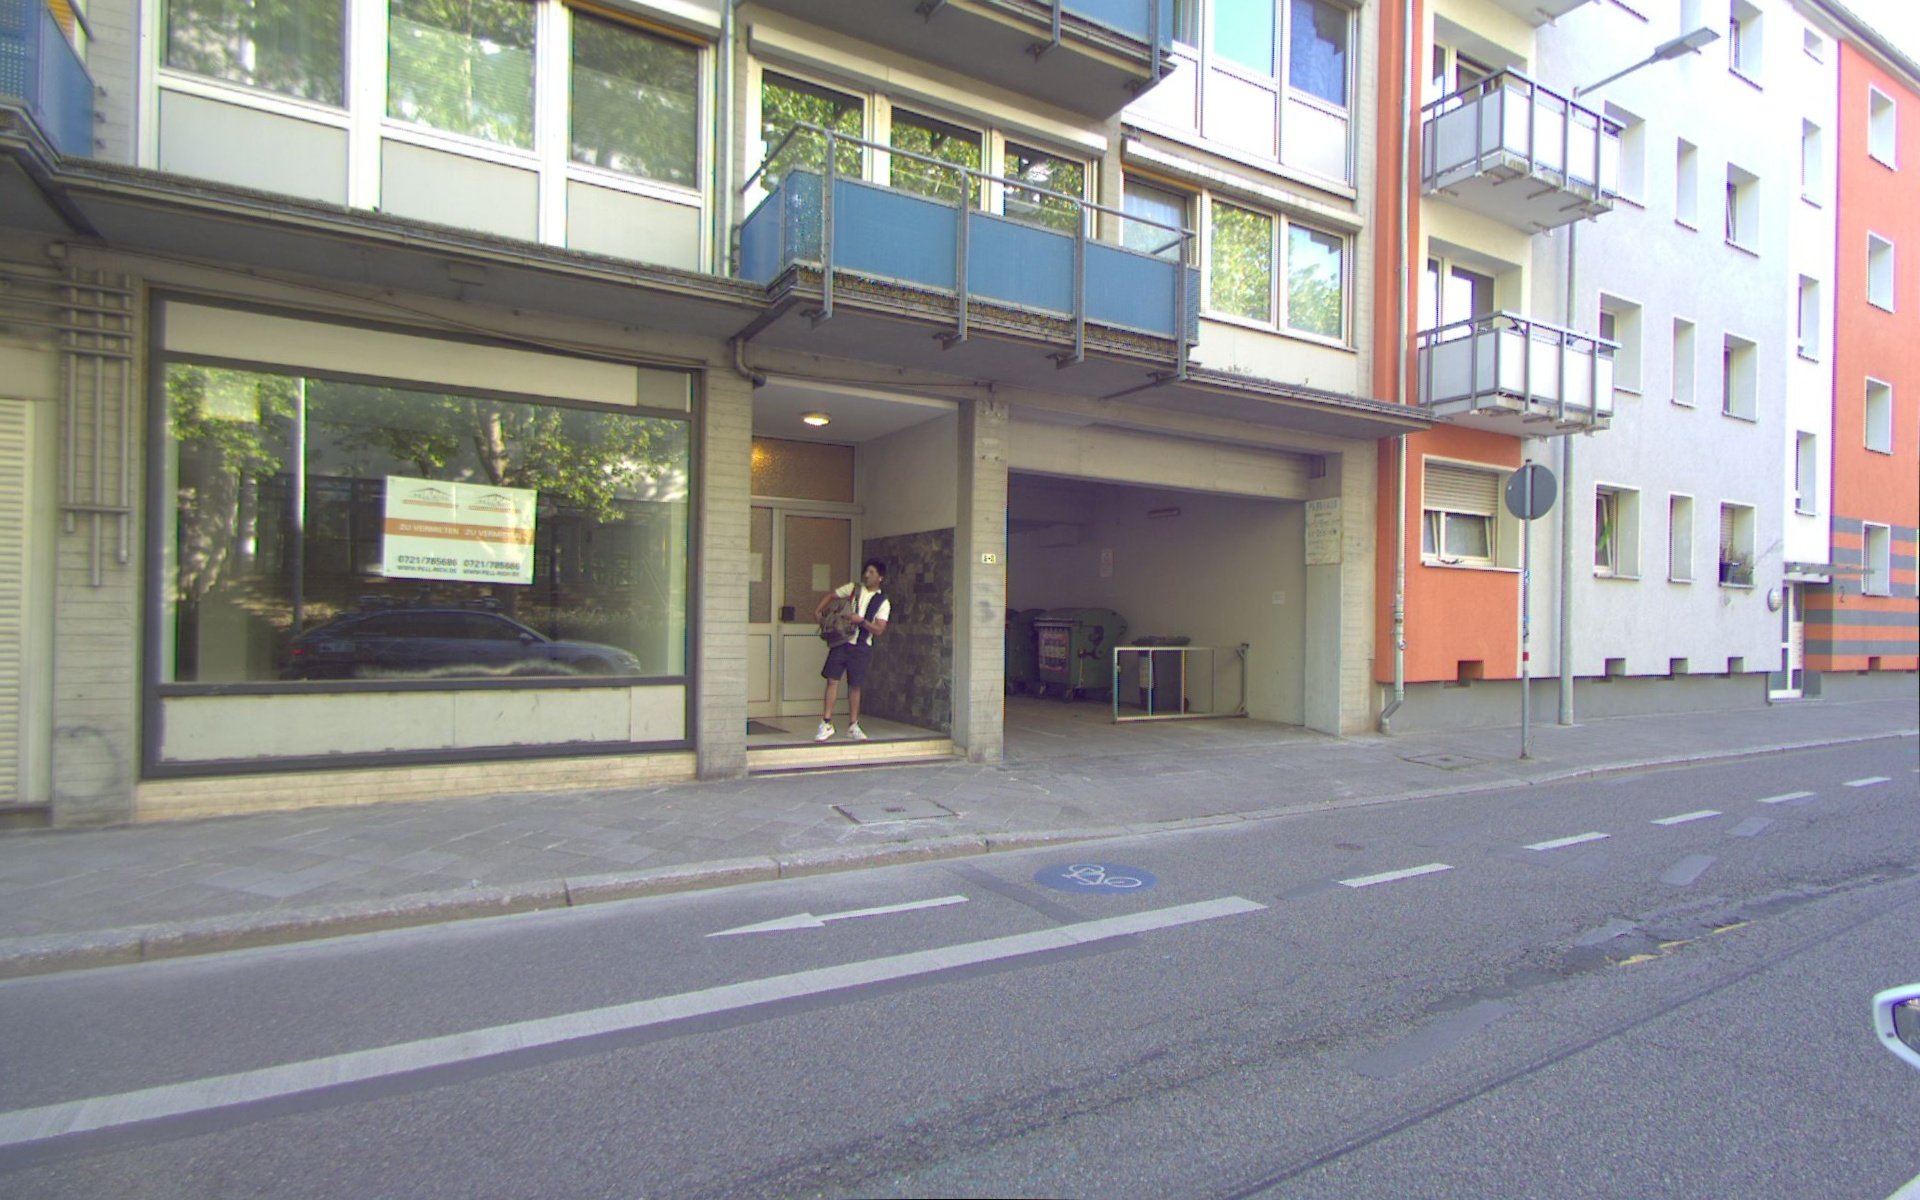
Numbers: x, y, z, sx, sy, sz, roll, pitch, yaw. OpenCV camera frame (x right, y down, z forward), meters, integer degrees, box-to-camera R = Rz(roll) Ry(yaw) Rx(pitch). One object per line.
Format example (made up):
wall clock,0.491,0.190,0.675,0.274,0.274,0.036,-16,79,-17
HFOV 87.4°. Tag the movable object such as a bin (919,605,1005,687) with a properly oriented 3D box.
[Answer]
movable object such as a bin,0.026,0.831,18.703,1.120,1.444,1.268,2,0,-28

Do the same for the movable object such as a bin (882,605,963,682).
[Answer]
movable object such as a bin,-0.746,0.834,19.794,1.120,1.444,1.268,2,0,-28

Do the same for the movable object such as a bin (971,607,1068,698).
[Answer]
movable object such as a bin,1.004,0.874,17.159,1.120,1.444,1.268,2,0,-28

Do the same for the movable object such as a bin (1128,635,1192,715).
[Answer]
movable object such as a bin,2.883,1.072,14.493,0.713,1.094,0.533,2,0,-29

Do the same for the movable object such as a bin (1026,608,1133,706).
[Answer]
movable object such as a bin,1.871,0.873,15.817,1.120,1.444,1.268,2,0,-28

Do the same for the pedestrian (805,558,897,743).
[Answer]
pedestrian,-1.014,0.458,9.452,0.778,1.639,0.836,2,0,-5
